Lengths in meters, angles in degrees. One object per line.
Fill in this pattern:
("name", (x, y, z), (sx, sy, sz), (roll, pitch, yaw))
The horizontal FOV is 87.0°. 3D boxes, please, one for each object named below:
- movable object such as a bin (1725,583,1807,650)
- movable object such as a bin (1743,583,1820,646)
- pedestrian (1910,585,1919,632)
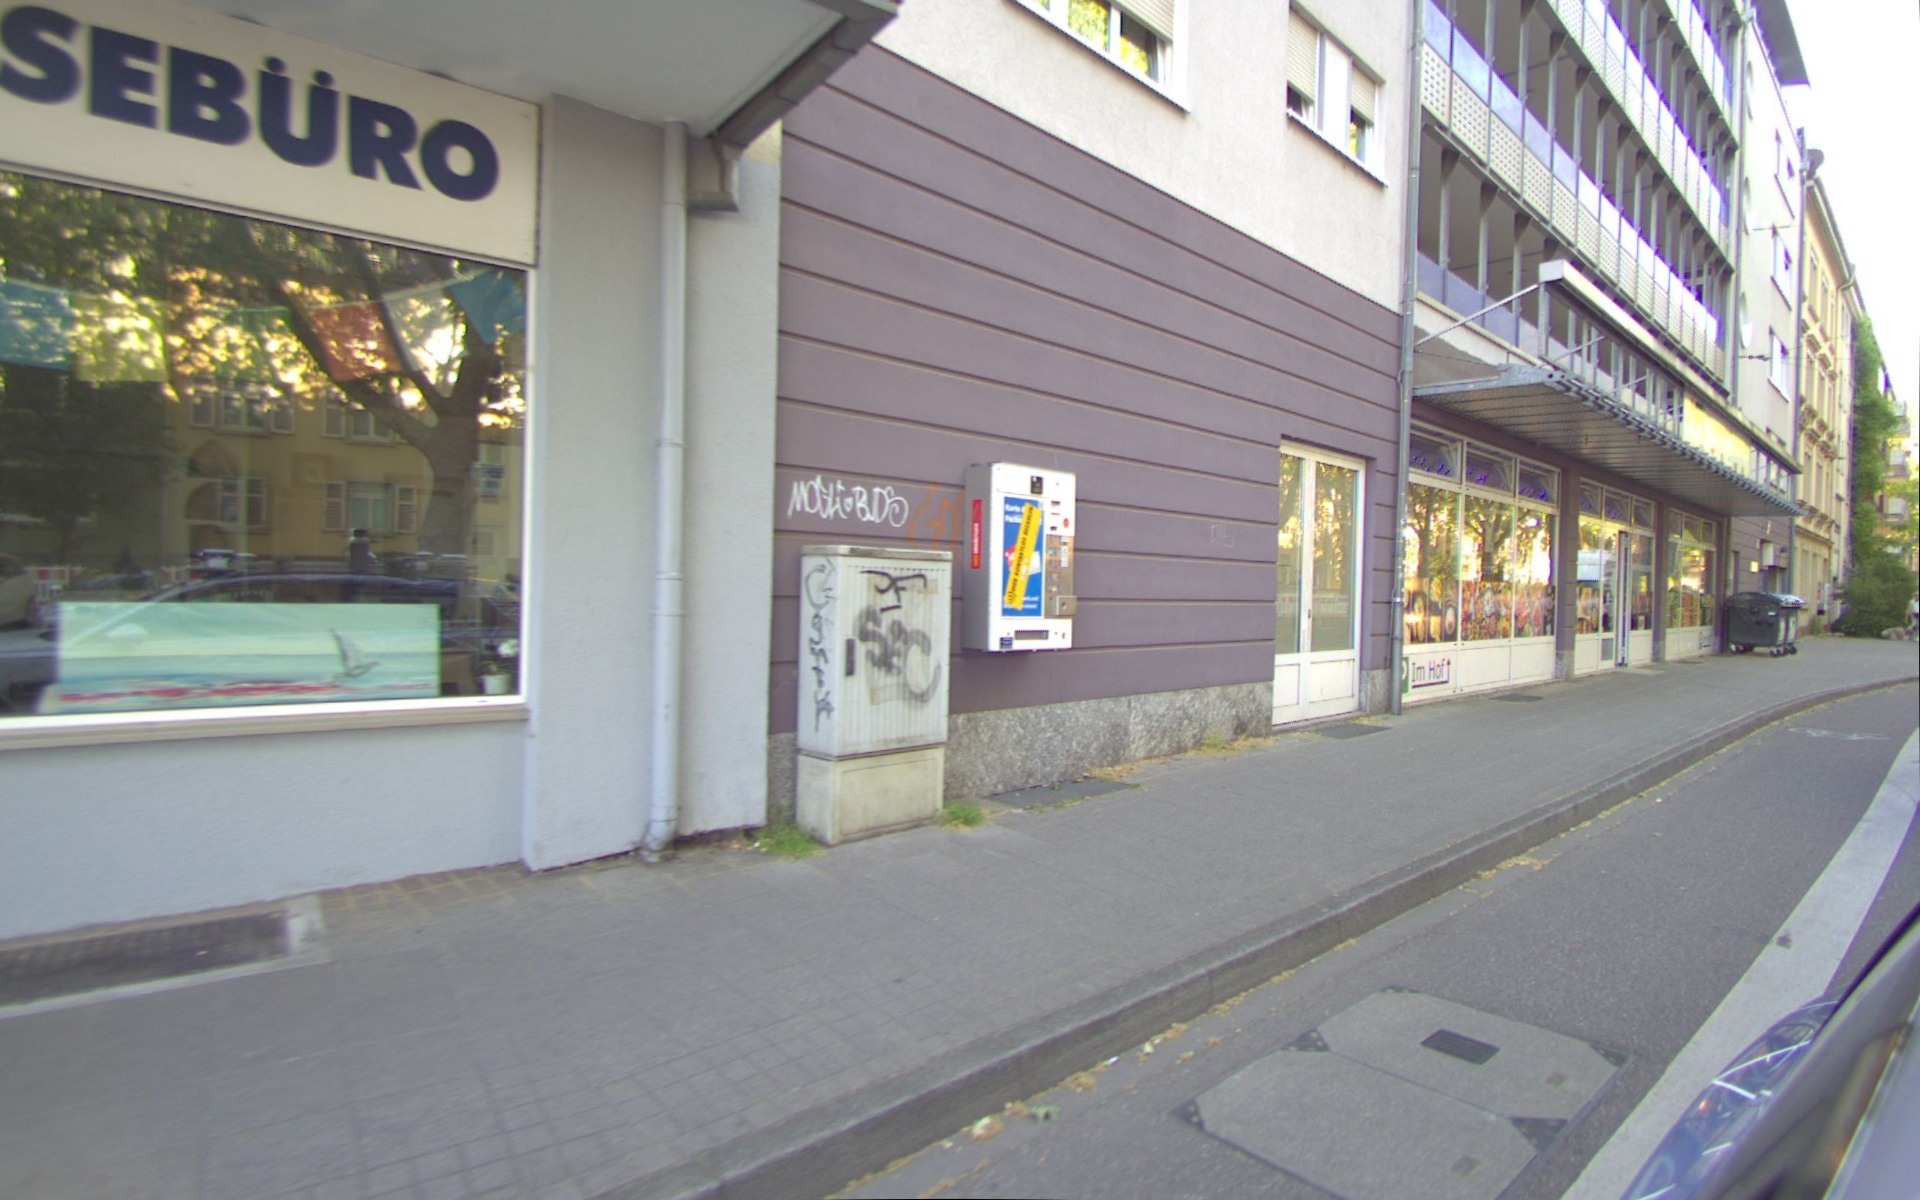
("movable object such as a bin", (18.222, 0.359, 22.875), (1.348, 1.427, 1.203), (0, 1, -41))
("movable object such as a bin", (19.657, 0.329, 24.219), (1.348, 1.427, 1.203), (0, 1, -41))
("pedestrian", (34.846, 0.296, 36.668), (0.504, 1.693, 0.540), (1, 1, -41))
